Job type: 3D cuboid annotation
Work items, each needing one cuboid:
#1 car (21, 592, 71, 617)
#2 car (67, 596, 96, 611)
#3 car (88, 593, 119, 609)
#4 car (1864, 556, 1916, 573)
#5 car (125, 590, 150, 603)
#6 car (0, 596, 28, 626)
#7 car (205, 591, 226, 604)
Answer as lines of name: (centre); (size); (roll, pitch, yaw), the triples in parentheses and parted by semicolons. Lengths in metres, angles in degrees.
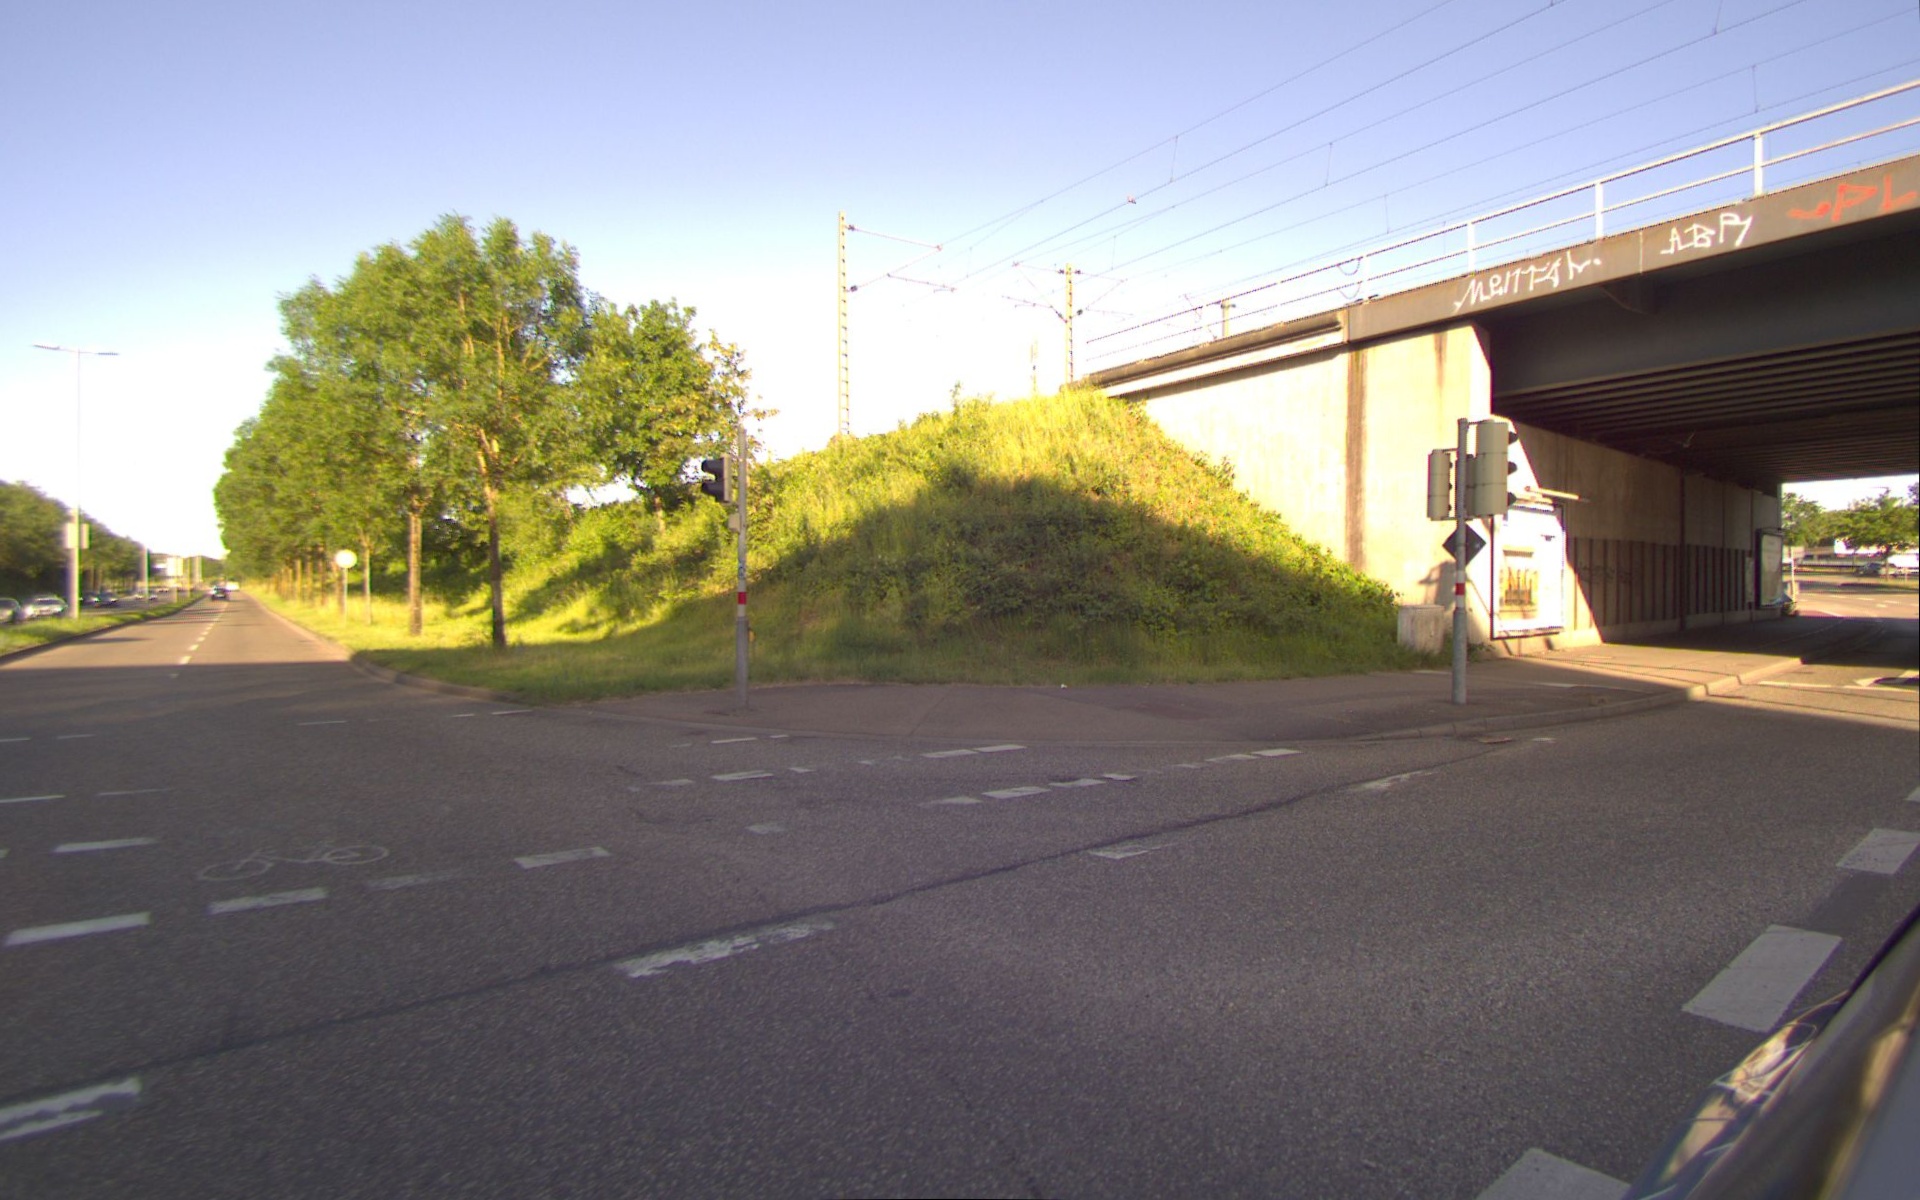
car: (-61.252, 0.279, 67.918); (1.793, 1.533, 4.564); (-3, 1, -34)
car: (-96.584, 0.370, 111.314); (1.793, 1.533, 4.564); (-3, 1, -34)
car: (-85.896, 0.111, 101.567); (1.793, 1.533, 4.564); (-3, 1, -34)
car: (87.098, -3.334, 94.857); (1.596, 1.538, 3.819); (0, 1, 6)
car: (-98.665, -0.428, 121.424); (1.793, 1.533, 4.564); (-3, 1, -34)
car: (-50.787, 0.606, 53.301); (1.793, 1.533, 4.564); (-3, 1, -34)
car: (-87.904, -0.285, 119.513); (1.793, 1.533, 4.564); (-3, 1, -34)
